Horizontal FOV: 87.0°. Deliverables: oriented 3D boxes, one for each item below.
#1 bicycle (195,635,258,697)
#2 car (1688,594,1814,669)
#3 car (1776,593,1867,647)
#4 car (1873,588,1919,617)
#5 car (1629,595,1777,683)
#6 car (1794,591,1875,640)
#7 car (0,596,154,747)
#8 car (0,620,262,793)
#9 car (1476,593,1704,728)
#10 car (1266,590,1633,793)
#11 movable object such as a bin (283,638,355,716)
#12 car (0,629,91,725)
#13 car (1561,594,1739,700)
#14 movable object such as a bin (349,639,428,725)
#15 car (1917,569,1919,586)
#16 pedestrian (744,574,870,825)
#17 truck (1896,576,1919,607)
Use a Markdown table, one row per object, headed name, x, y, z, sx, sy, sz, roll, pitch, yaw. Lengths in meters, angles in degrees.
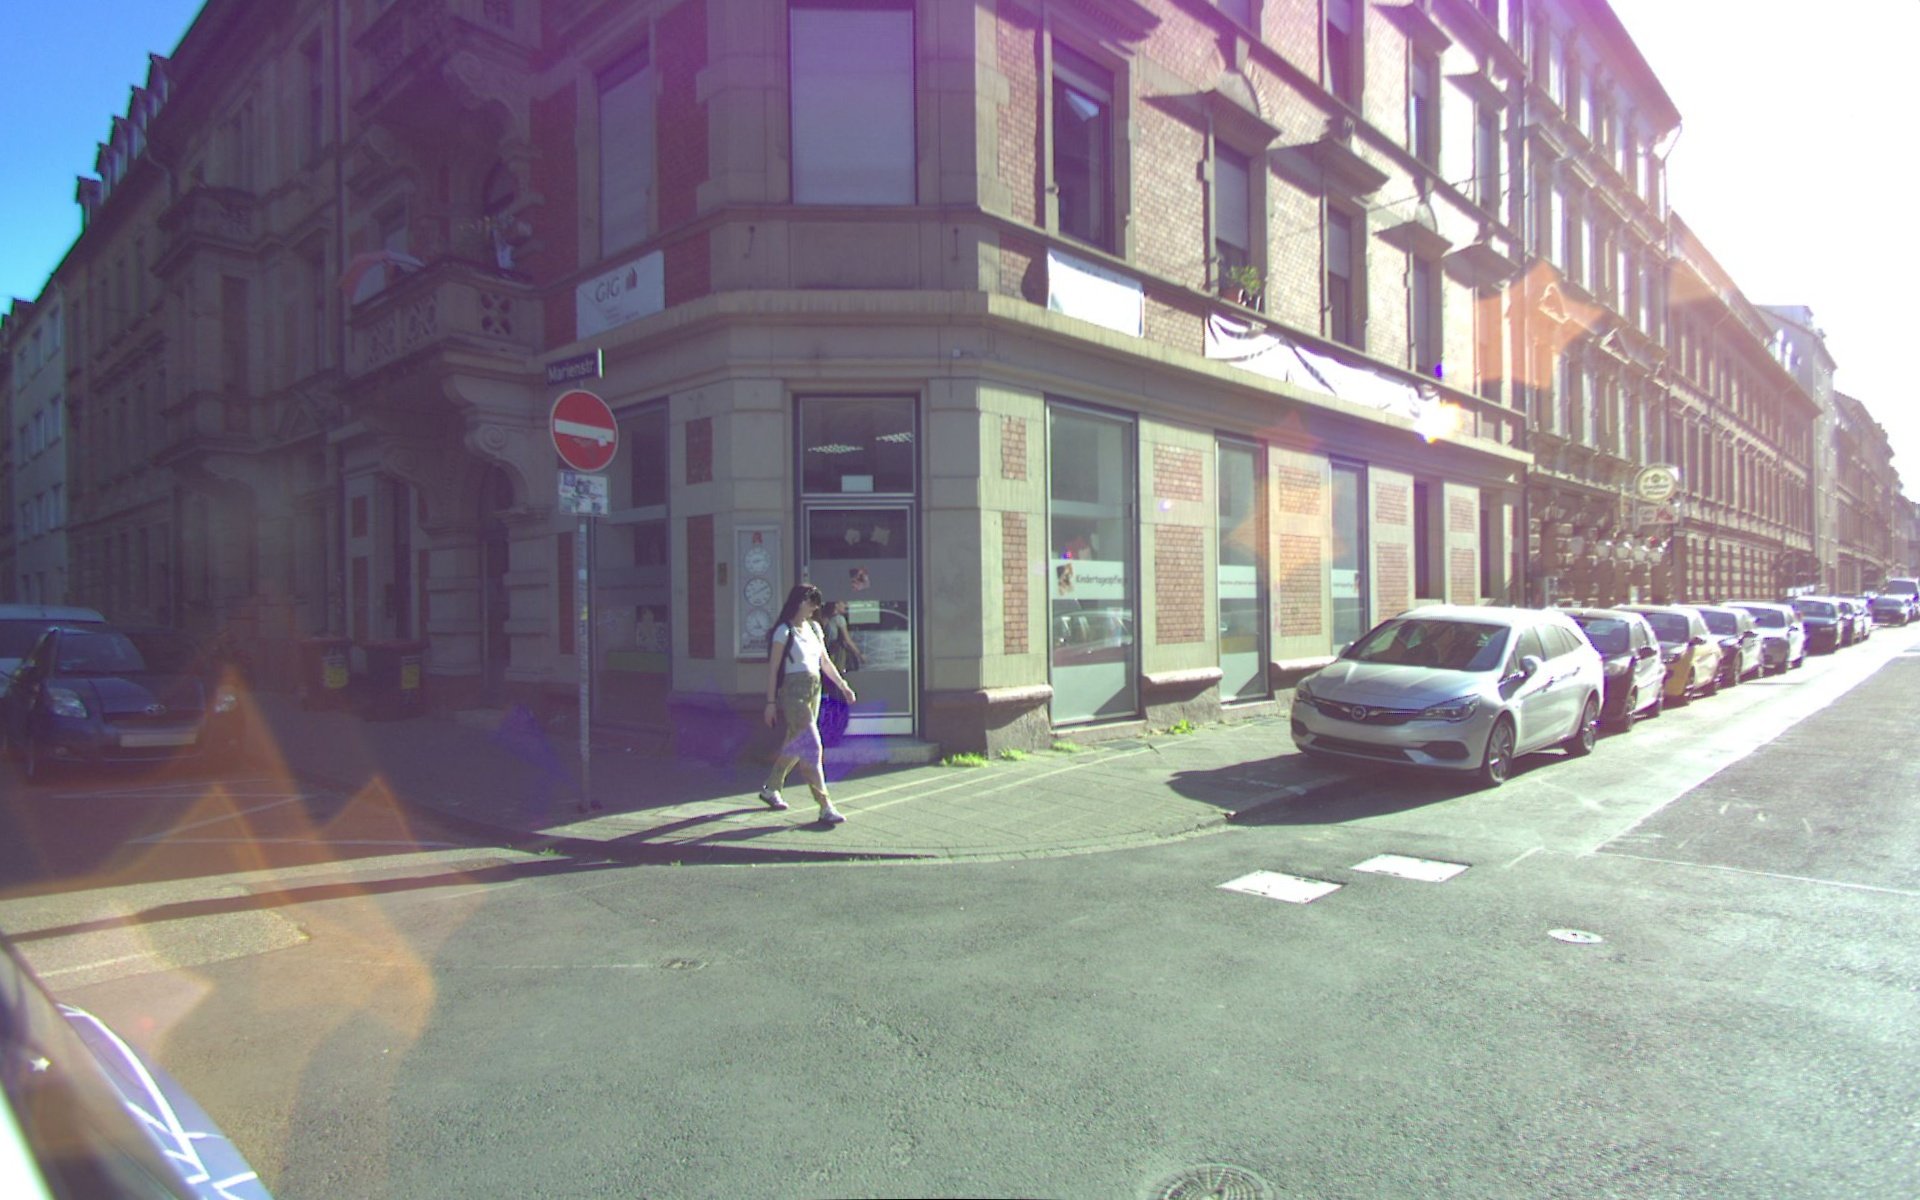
| name | x | y | z | sx | sy | sz | roll | pitch | yaw |
| --- | --- | --- | --- | --- | --- | --- | --- | --- | --- |
| bicycle | -13.448 | 1.194 | 18.537 | 1.545 | 1.049 | 0.565 | -1 | 1 | 41 |
| car | 18.212 | 0.663 | 23.259 | 3.482 | 1.542 | 1.774 | 0 | 2 | -44 |
| car | 26.530 | 0.568 | 31.138 | 3.482 | 1.542 | 1.774 | 0 | 2 | -44 |
| car | 50.601 | 0.145 | 54.632 | 1.780 | 1.495 | 4.301 | -1 | -1 | 44 |
| car | 14.821 | 0.695 | 20.134 | 3.482 | 1.542 | 1.774 | 0 | 2 | -44 |
| car | 29.923 | 0.481 | 34.601 | 3.482 | 1.542 | 1.774 | 0 | 2 | -44 |
| car | -12.953 | 0.924 | 14.136 | 4.569 | 1.825 | 1.812 | -2 | -3 | 41 |
| car | -9.009 | 0.986 | 10.709 | 3.970 | 1.492 | 1.675 | -2 | -3 | 40 |
| car | 8.652 | 0.702 | 13.788 | 3.637 | 1.542 | 1.774 | 0 | 2 | -44 |
| car | 5.022 | 0.693 | 10.067 | 4.375 | 1.542 | 1.869 | 0 | 2 | -44 |
| movable object such as a bin | -9.393 | 1.109 | 14.833 | 0.856 | 1.049 | 0.631 | -1 | 1 | 41 |
| car | -16.628 | 1.274 | 17.500 | 3.967 | 1.525 | 1.676 | -1 | -3 | 38 |
| car | 11.622 | 0.698 | 16.977 | 3.482 | 1.542 | 1.774 | 0 | 2 | -44 |
| movable object such as a bin | -7.591 | 1.065 | 13.444 | 0.856 | 1.049 | 0.631 | -1 | 1 | 41 |
| car | 85.698 | -2.017 | 89.340 | 1.780 | 1.495 | 4.301 | -1 | -1 | 44 |
| pedestrian | -1.077 | 0.649 | 7.130 | 0.717 | 1.656 | 0.542 | 1 | 2 | 41 |
| truck | 62.922 | -0.543 | 66.649 | 1.780 | 2.006 | 4.301 | -1 | -1 | 44 |
